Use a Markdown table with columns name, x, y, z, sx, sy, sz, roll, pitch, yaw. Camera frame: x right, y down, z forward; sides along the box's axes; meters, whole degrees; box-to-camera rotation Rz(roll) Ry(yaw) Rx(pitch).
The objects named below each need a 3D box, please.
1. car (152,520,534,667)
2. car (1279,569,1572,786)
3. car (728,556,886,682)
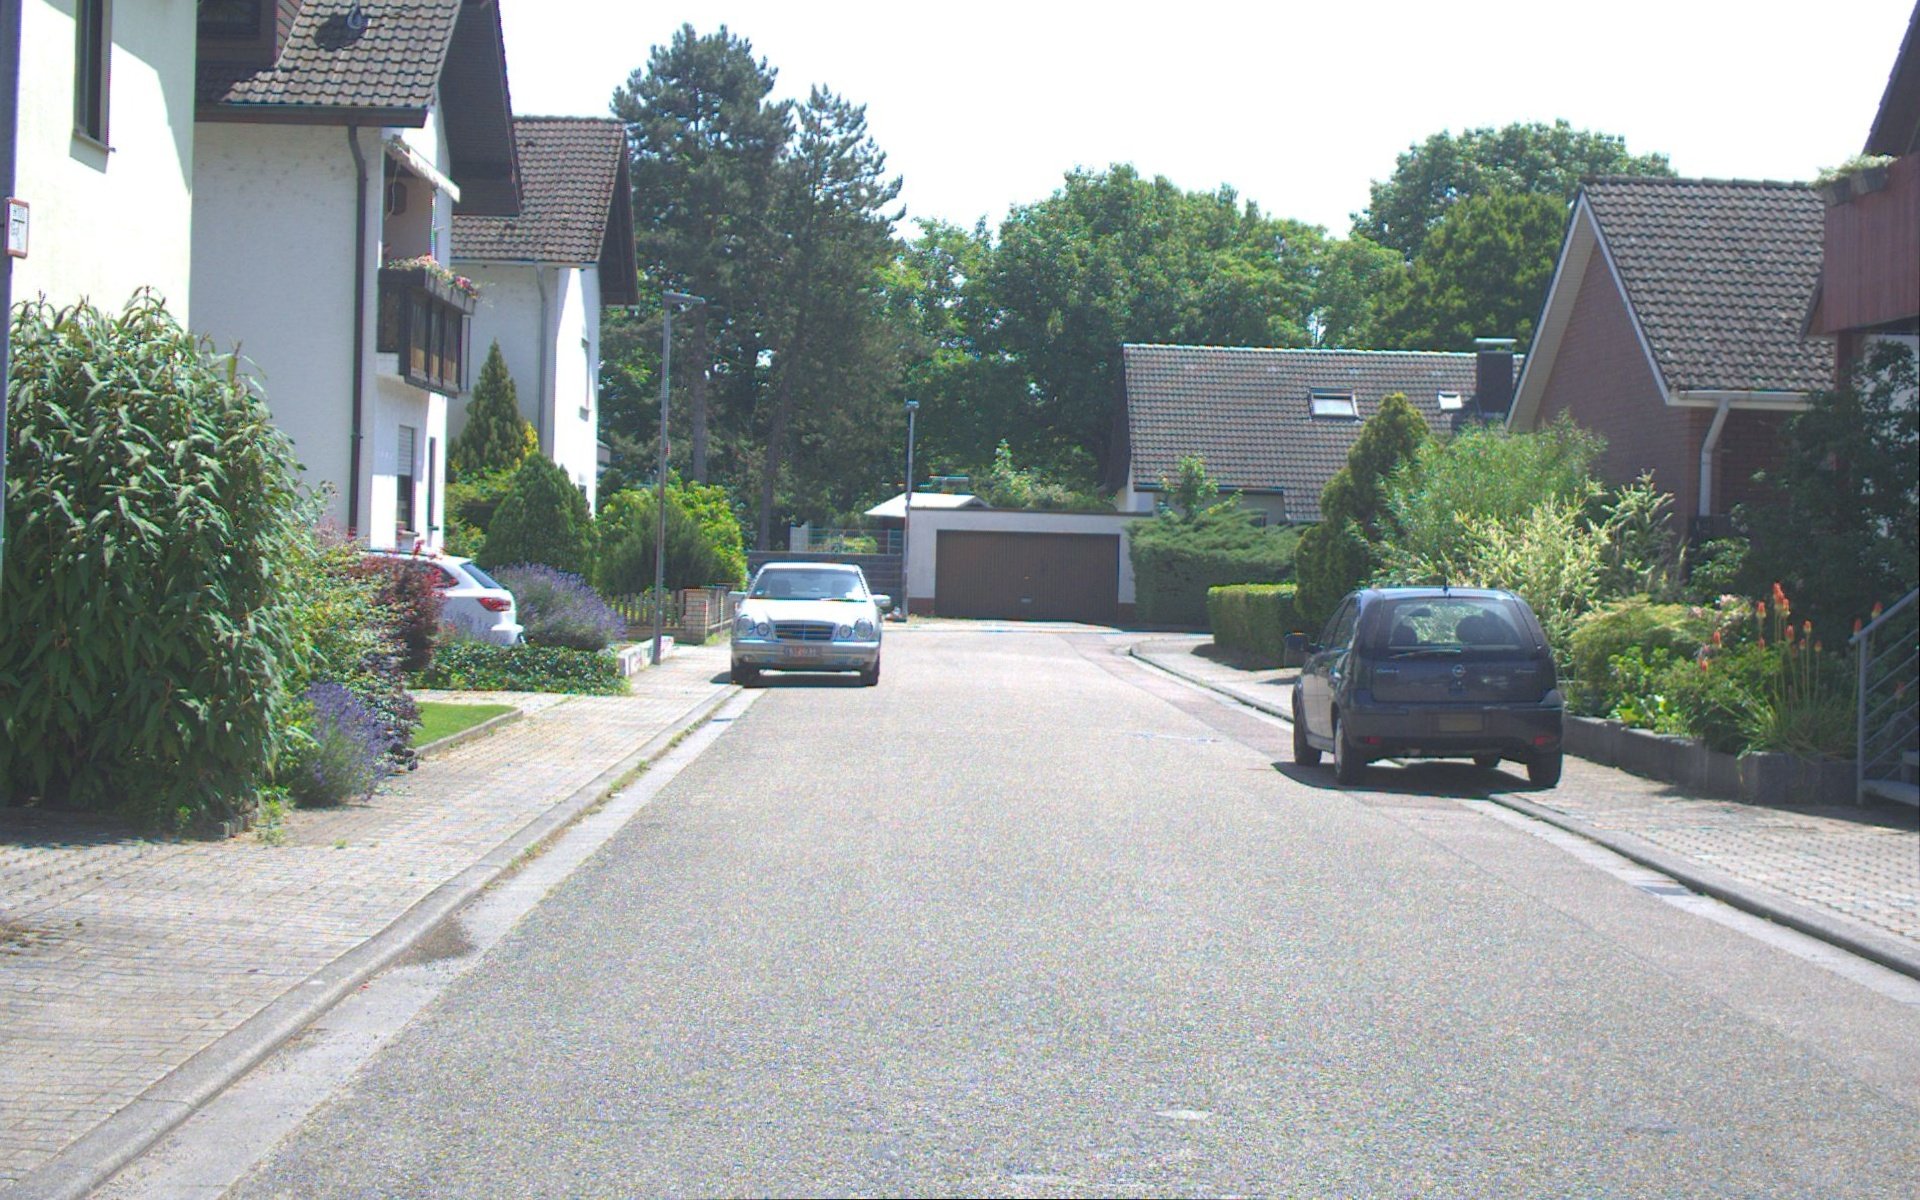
| name | x | y | z | sx | sy | sz | roll | pitch | yaw |
| --- | --- | --- | --- | --- | --- | --- | --- | --- | --- |
| car | -6.781 | -0.083 | 38.129 | 3.986 | 1.415 | 1.846 | 2 | 1 | -6 |
| car | 3.439 | 0.529 | 25.988 | 1.650 | 1.435 | 3.652 | 2 | 1 | 0 |
| car | -1.830 | 0.192 | 42.178 | 1.699 | 1.388 | 4.337 | 2 | 1 | 0 |
